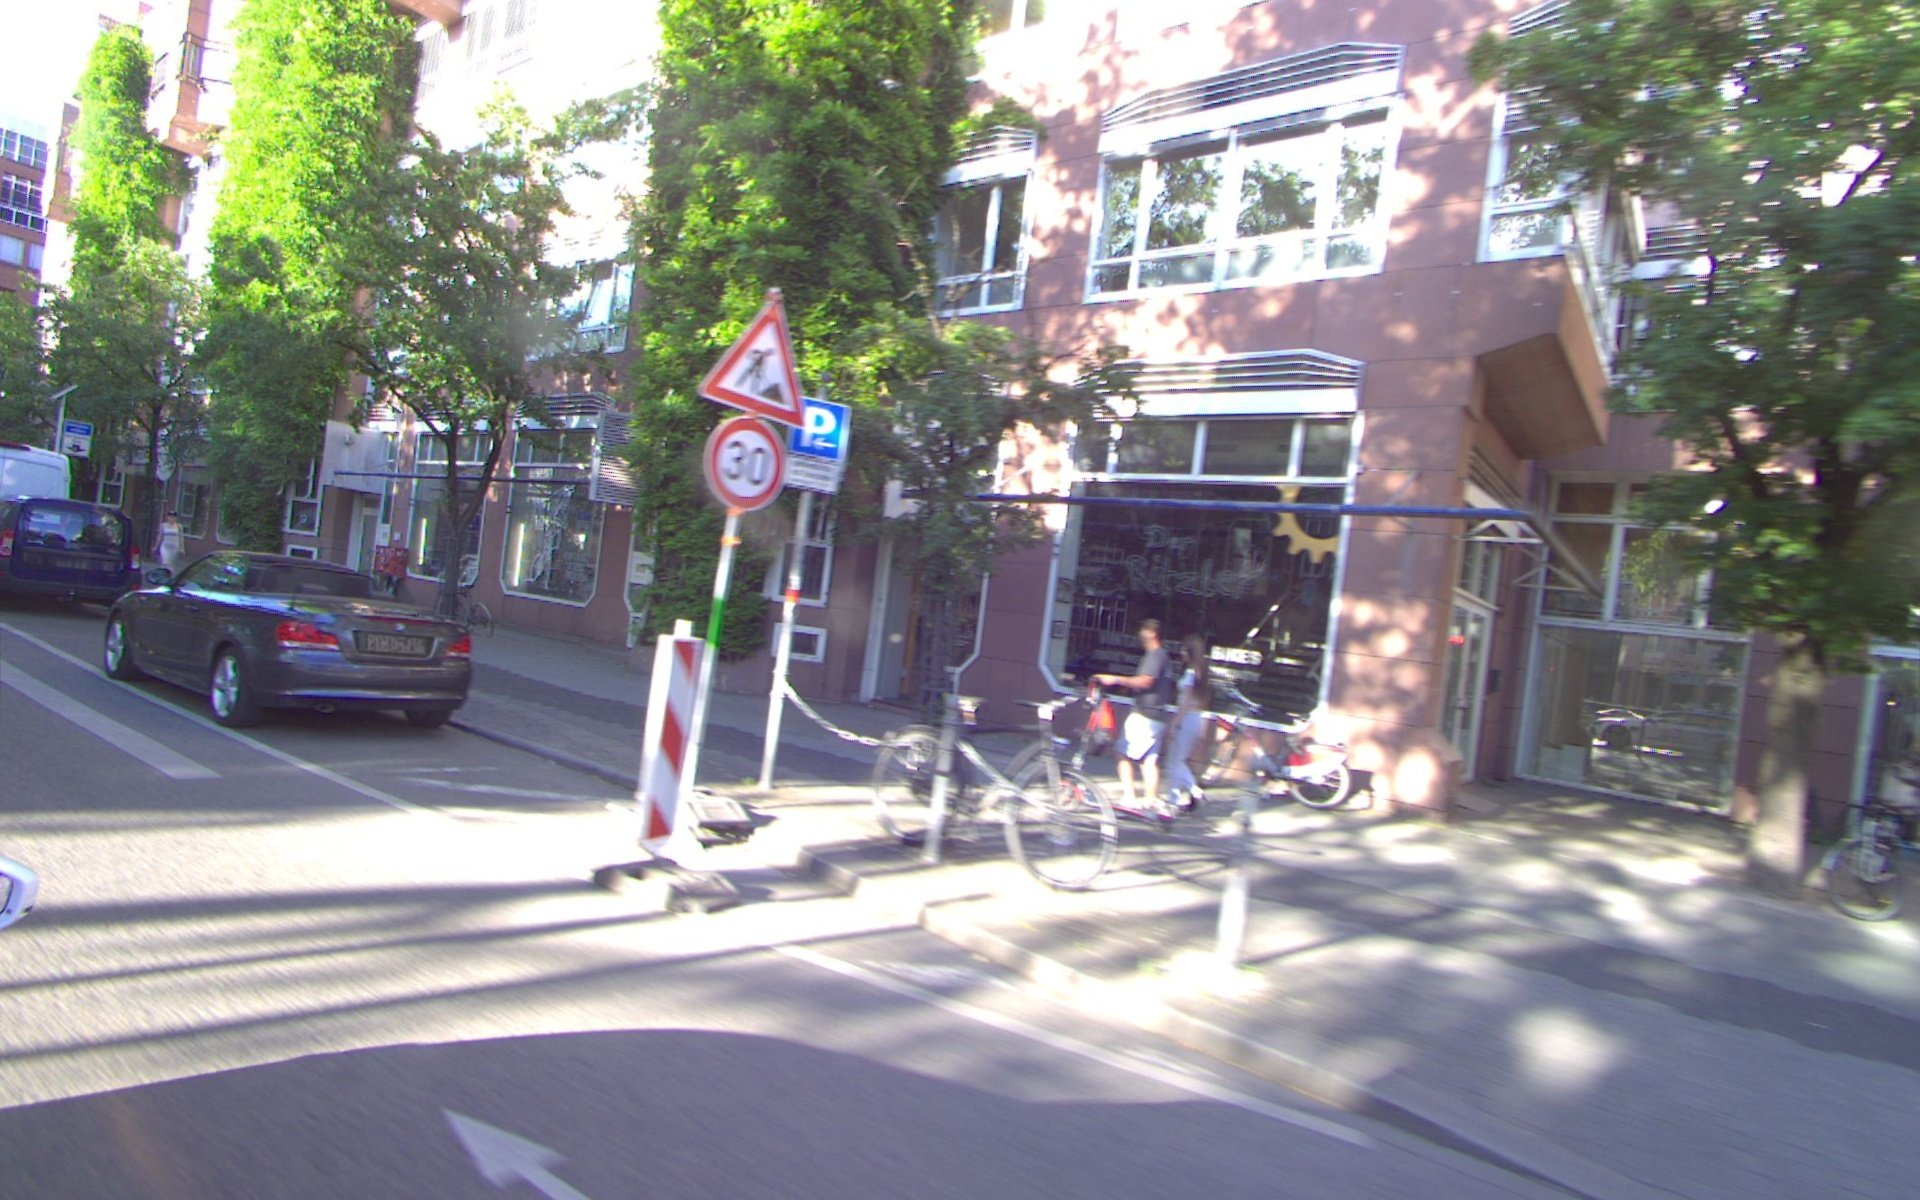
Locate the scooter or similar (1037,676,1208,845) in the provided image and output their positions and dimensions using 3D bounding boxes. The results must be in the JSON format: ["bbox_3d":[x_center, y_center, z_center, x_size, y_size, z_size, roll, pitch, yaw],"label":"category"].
[{"bbox_3d":[1.347,1.311,8.440,1.229,1.172,0.395,7,0,33],"label":"scooter or similar"}]

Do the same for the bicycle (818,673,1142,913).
[{"bbox_3d":[0.136,1.103,6.134,1.719,1.066,0.740,7,0,18],"label":"bicycle"}]

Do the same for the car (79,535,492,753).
[{"bbox_3d":[-6.181,0.304,9.041,4.244,1.318,1.621,7,-1,36],"label":"car"}]

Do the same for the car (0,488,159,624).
[{"bbox_3d":[-13.629,-0.752,14.862,4.416,1.639,1.620,7,-1,37],"label":"car"}]

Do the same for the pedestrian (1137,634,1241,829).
[{"bbox_3d":[2.154,1.214,9.465,0.668,1.693,0.460,7,0,27],"label":"pedestrian"}]

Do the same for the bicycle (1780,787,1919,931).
[{"bbox_3d":[8.380,2.349,9.303,1.737,1.065,0.732,8,0,-36],"label":"bicycle"}]

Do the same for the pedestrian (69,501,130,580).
[{"bbox_3d":[-19.377,-1.331,22.660,0.538,1.665,0.764,7,0,30],"label":"pedestrian"}]

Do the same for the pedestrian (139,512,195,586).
[{"bbox_3d":[-17.069,-1.088,21.668,0.761,1.462,0.773,8,-1,-36],"label":"pedestrian"}]

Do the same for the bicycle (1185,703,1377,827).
[{"bbox_3d":[3.386,1.701,10.666,1.723,0.951,0.738,7,0,31],"label":"bicycle"}]

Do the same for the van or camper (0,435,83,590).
[{"bbox_3d":[-18.850,-1.813,19.097,5.685,2.571,2.049,7,0,37],"label":"van or camper"}]

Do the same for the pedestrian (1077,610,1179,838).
[{"bbox_3d":[1.459,1.027,8.621,0.598,1.784,0.788,7,0,14],"label":"pedestrian"}]

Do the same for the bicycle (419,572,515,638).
[{"bbox_3d":[-9.486,0.087,19.350,1.881,1.033,0.618,7,0,30],"label":"bicycle"}]
